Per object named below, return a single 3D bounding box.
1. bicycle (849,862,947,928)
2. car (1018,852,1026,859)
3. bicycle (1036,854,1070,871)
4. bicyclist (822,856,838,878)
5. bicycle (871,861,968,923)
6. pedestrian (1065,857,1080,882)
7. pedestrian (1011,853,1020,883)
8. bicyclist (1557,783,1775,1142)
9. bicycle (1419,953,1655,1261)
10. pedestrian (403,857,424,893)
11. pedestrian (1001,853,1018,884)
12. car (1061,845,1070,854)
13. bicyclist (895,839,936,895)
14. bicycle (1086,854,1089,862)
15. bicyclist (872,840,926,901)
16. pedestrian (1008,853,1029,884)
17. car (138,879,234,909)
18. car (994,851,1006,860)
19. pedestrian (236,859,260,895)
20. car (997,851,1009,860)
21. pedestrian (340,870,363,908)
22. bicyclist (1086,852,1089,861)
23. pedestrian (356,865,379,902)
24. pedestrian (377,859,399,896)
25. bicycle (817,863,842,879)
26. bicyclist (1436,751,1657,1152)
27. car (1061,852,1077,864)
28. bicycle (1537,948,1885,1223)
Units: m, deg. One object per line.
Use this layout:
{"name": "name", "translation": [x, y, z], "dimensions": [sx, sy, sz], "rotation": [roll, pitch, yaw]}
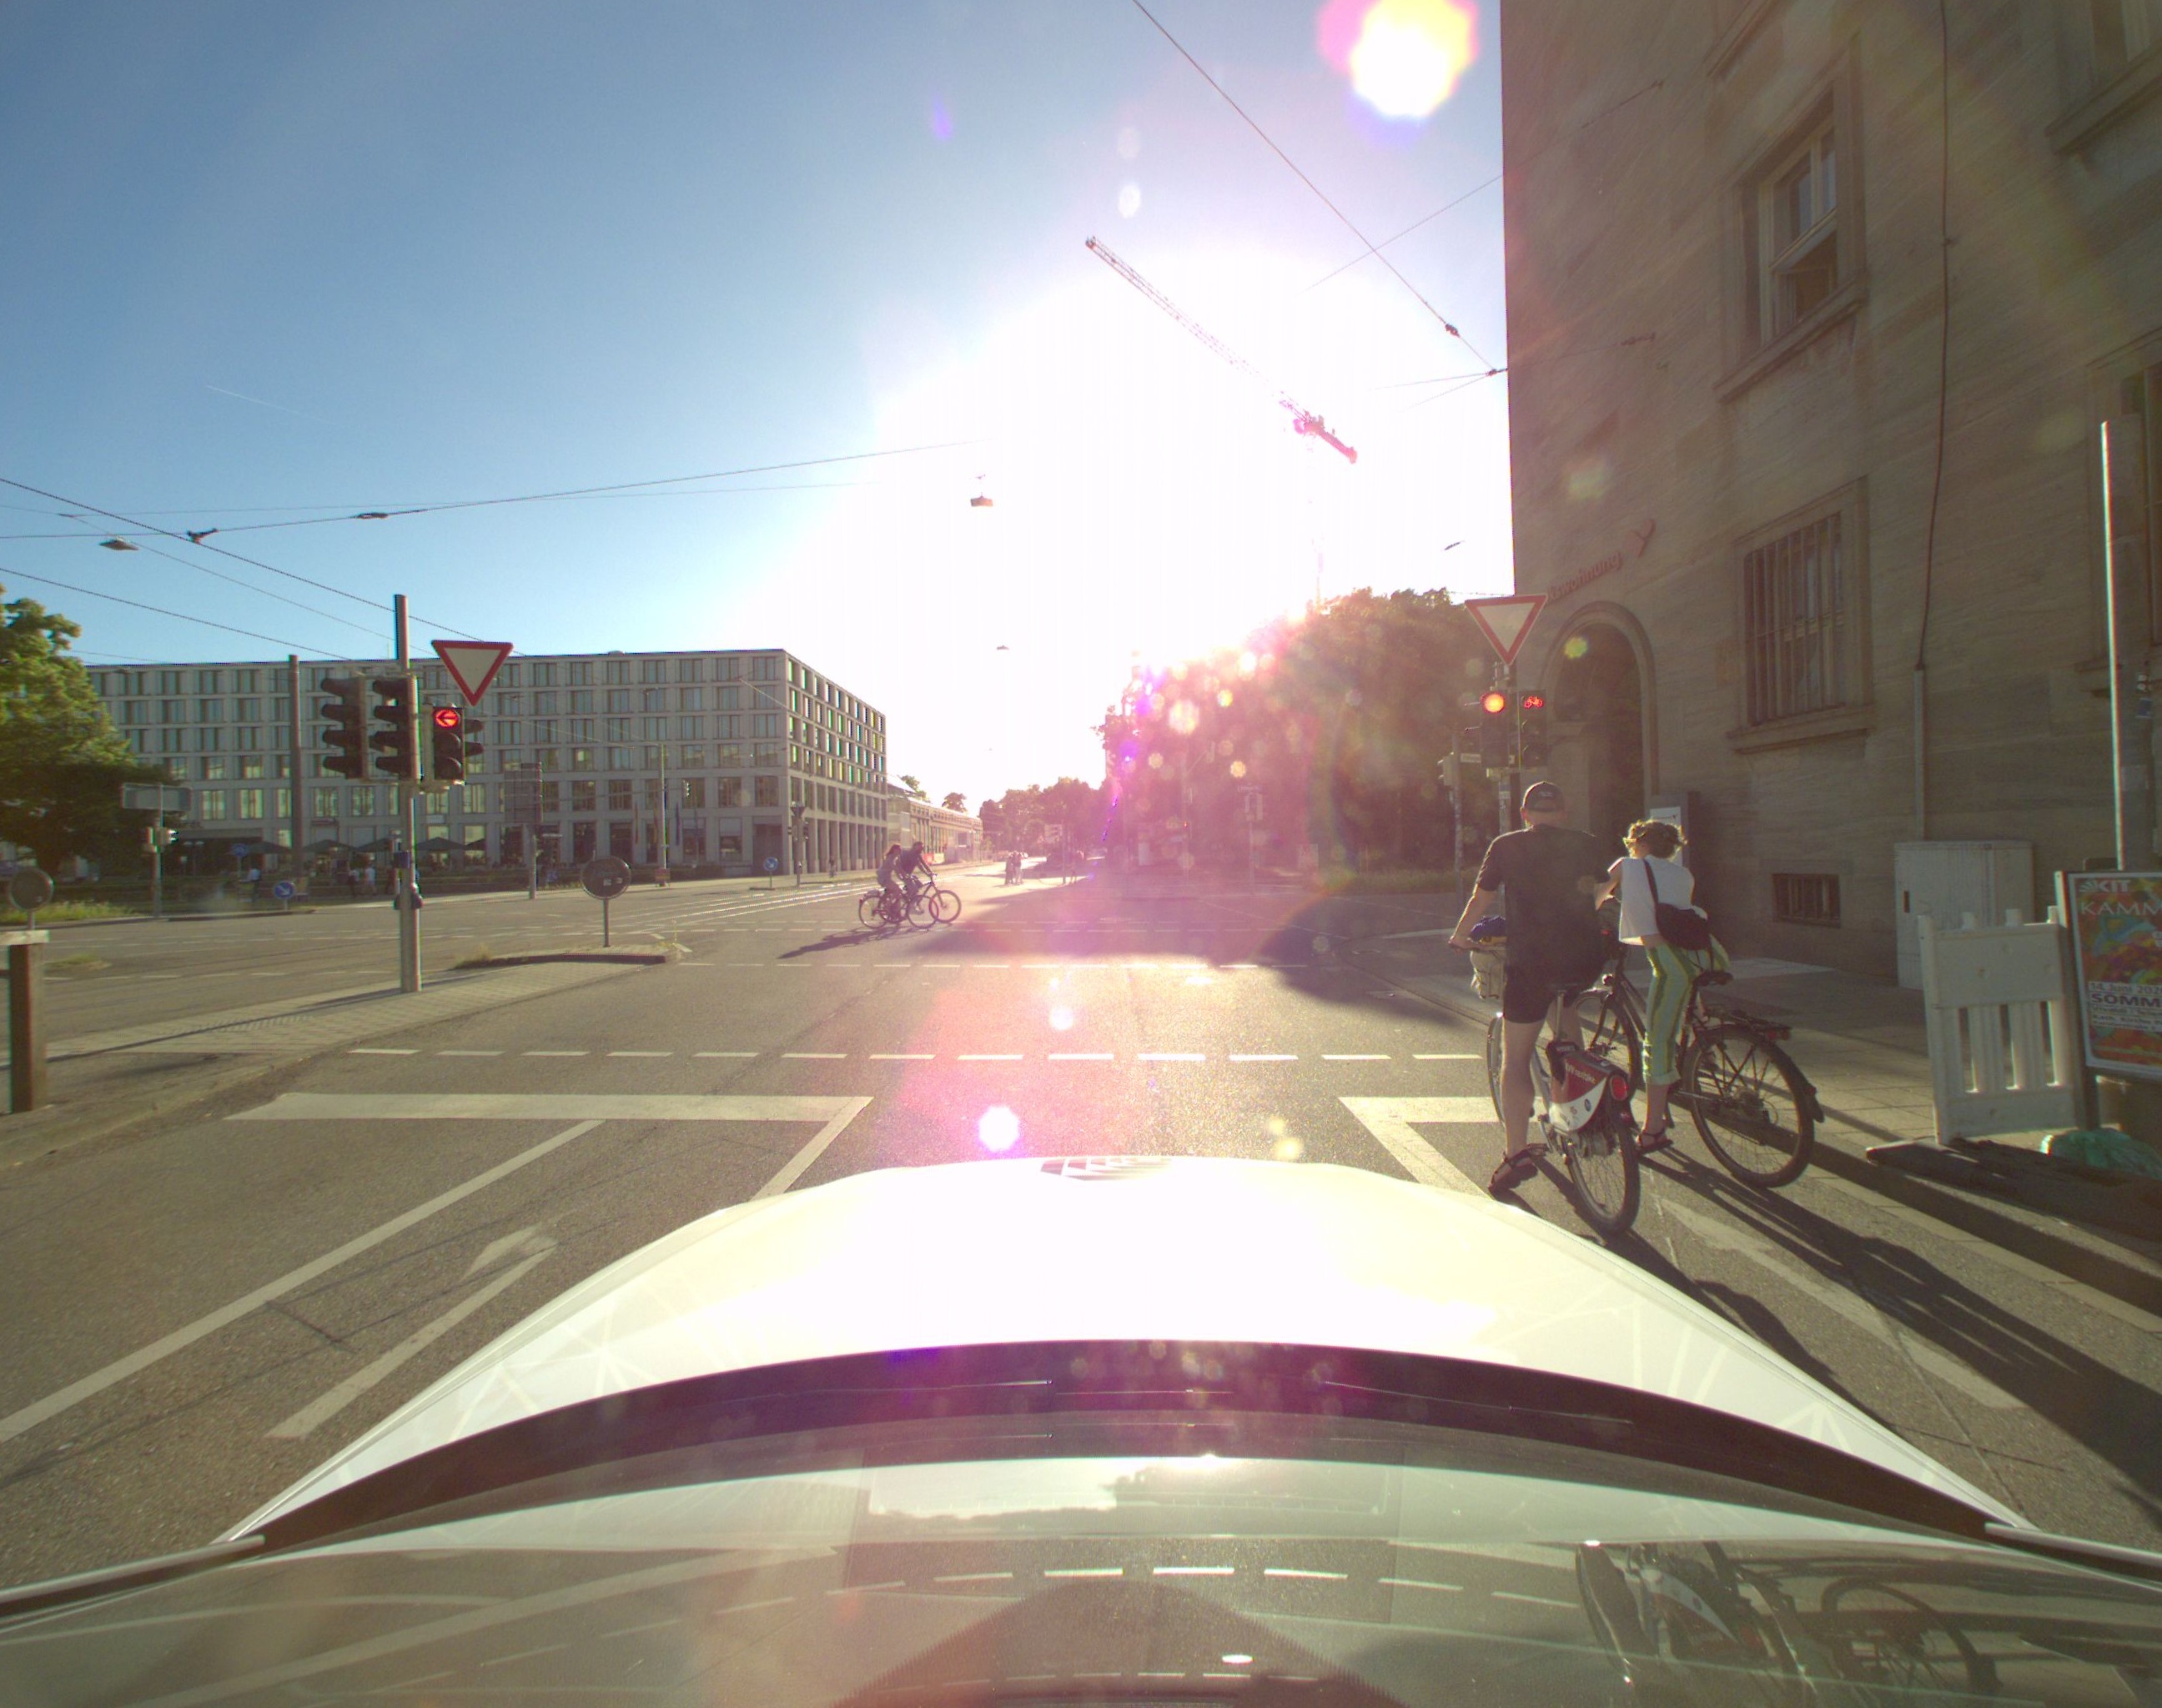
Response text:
{"name": "bicycle", "translation": [-3.798, 0.844, 17.036], "dimensions": [1.846, 1.291, 0.791], "rotation": [-2, 0, -2]}
{"name": "car", "translation": [-14.081, 0.308, 194.427], "dimensions": [1.478, 1.750, 4.002], "rotation": [-2, 0, 2]}
{"name": "bicycle", "translation": [-2.329, 0.724, 67.377], "dimensions": [2.728, 1.367, 0.633], "rotation": [-1, -1, 12]}
{"name": "bicyclist", "translation": [-19.208, 0.963, 62.263], "dimensions": [0.872, 1.641, 0.822], "rotation": [-2, 0, 3]}
{"name": "bicycle", "translation": [-3.612, 0.845, 18.286], "dimensions": [1.979, 1.291, 0.792], "rotation": [-2, 0, 0]}
{"name": "pedestrian", "translation": [-0.473, 0.838, 44.544], "dimensions": [0.749, 1.332, 0.743], "rotation": [-2, 0, 3]}
{"name": "pedestrian", "translation": [-3.633, 0.777, 45.157], "dimensions": [0.440, 1.662, 0.376], "rotation": [-2, 0, 1]}
{"name": "bicyclist", "translation": [3.002, 0.515, 4.263], "dimensions": [0.519, 1.679, 0.860], "rotation": [-2, 0, 5]}
{"name": "bicycle", "translation": [2.114, 1.068, 4.034], "dimensions": [0.387, 0.905, 1.956], "rotation": [-2, 0, 10]}
{"name": "pedestrian", "translation": [-37.631, 1.173, 45.899], "dimensions": [0.528, 2.013, 0.800], "rotation": [-2, 0, -5]}
{"name": "pedestrian", "translation": [-3.893, 0.764, 44.072], "dimensions": [0.792, 1.639, 0.534], "rotation": [-2, 0, 4]}
{"name": "car", "translation": [-3.942, -1.098, 203.691], "dimensions": [1.986, 2.013, 4.002], "rotation": [-2, 0, 2]}
{"name": "bicyclist", "translation": [-3.713, 0.292, 18.300], "dimensions": [0.718, 1.218, 0.798], "rotation": [-2, 0, 1]}
{"name": "bicycle", "translation": [0.747, 0.497, 98.693], "dimensions": [0.323, 0.868, 1.484], "rotation": [-2, 0, 2]}
{"name": "bicyclist", "translation": [-3.793, 0.339, 17.038], "dimensions": [0.922, 1.218, 0.796], "rotation": [-2, 0, -1]}
{"name": "pedestrian", "translation": [-3.348, 0.770, 43.551], "dimensions": [0.980, 1.587, 0.661], "rotation": [-2, -1, 3]}
{"name": "car", "translation": [-46.897, 2.082, 42.736], "dimensions": [3.180, 1.438, 1.468], "rotation": [-2, 0, -6]}
{"name": "car", "translation": [-15.549, 0.224, 156.572], "dimensions": [1.724, 1.653, 4.002], "rotation": [-2, 0, 2]}
{"name": "pedestrian", "translation": [-45.124, 1.259, 44.120], "dimensions": [0.557, 1.903, 0.684], "rotation": [-2, 0, 10]}
{"name": "car", "translation": [-15.370, 0.281, 160.831], "dimensions": [1.724, 1.653, 4.002], "rotation": [-2, 0, 2]}
{"name": "pedestrian", "translation": [-39.205, 1.856, 43.762], "dimensions": [0.528, 2.013, 0.800], "rotation": [-2, 0, -5]}
{"name": "bicyclist", "translation": [0.763, 0.276, 98.572], "dimensions": [0.317, 1.127, 0.291], "rotation": [-2, 0, 1]}
{"name": "pedestrian", "translation": [-39.325, 1.607, 44.892], "dimensions": [0.528, 2.013, 0.800], "rotation": [-2, 0, -5]}
{"name": "pedestrian", "translation": [-38.524, 1.304, 45.301], "dimensions": [0.528, 2.013, 0.800], "rotation": [-2, 0, -5]}
{"name": "bicycle", "translation": [-19.208, 1.299, 62.279], "dimensions": [0.872, 1.121, 3.015], "rotation": [-2, 0, 3]}
{"name": "bicyclist", "translation": [2.114, 0.416, 3.789], "dimensions": [0.666, 1.678, 0.658], "rotation": [-2, 0, 10]}
{"name": "car", "translation": [-1.334, 0.431, 92.037], "dimensions": [1.814, 1.279, 3.999], "rotation": [-2, 0, 0]}
{"name": "bicycle", "translation": [3.084, 1.046, 4.259], "dimensions": [0.424, 0.876, 1.953], "rotation": [-2, 0, 5]}
